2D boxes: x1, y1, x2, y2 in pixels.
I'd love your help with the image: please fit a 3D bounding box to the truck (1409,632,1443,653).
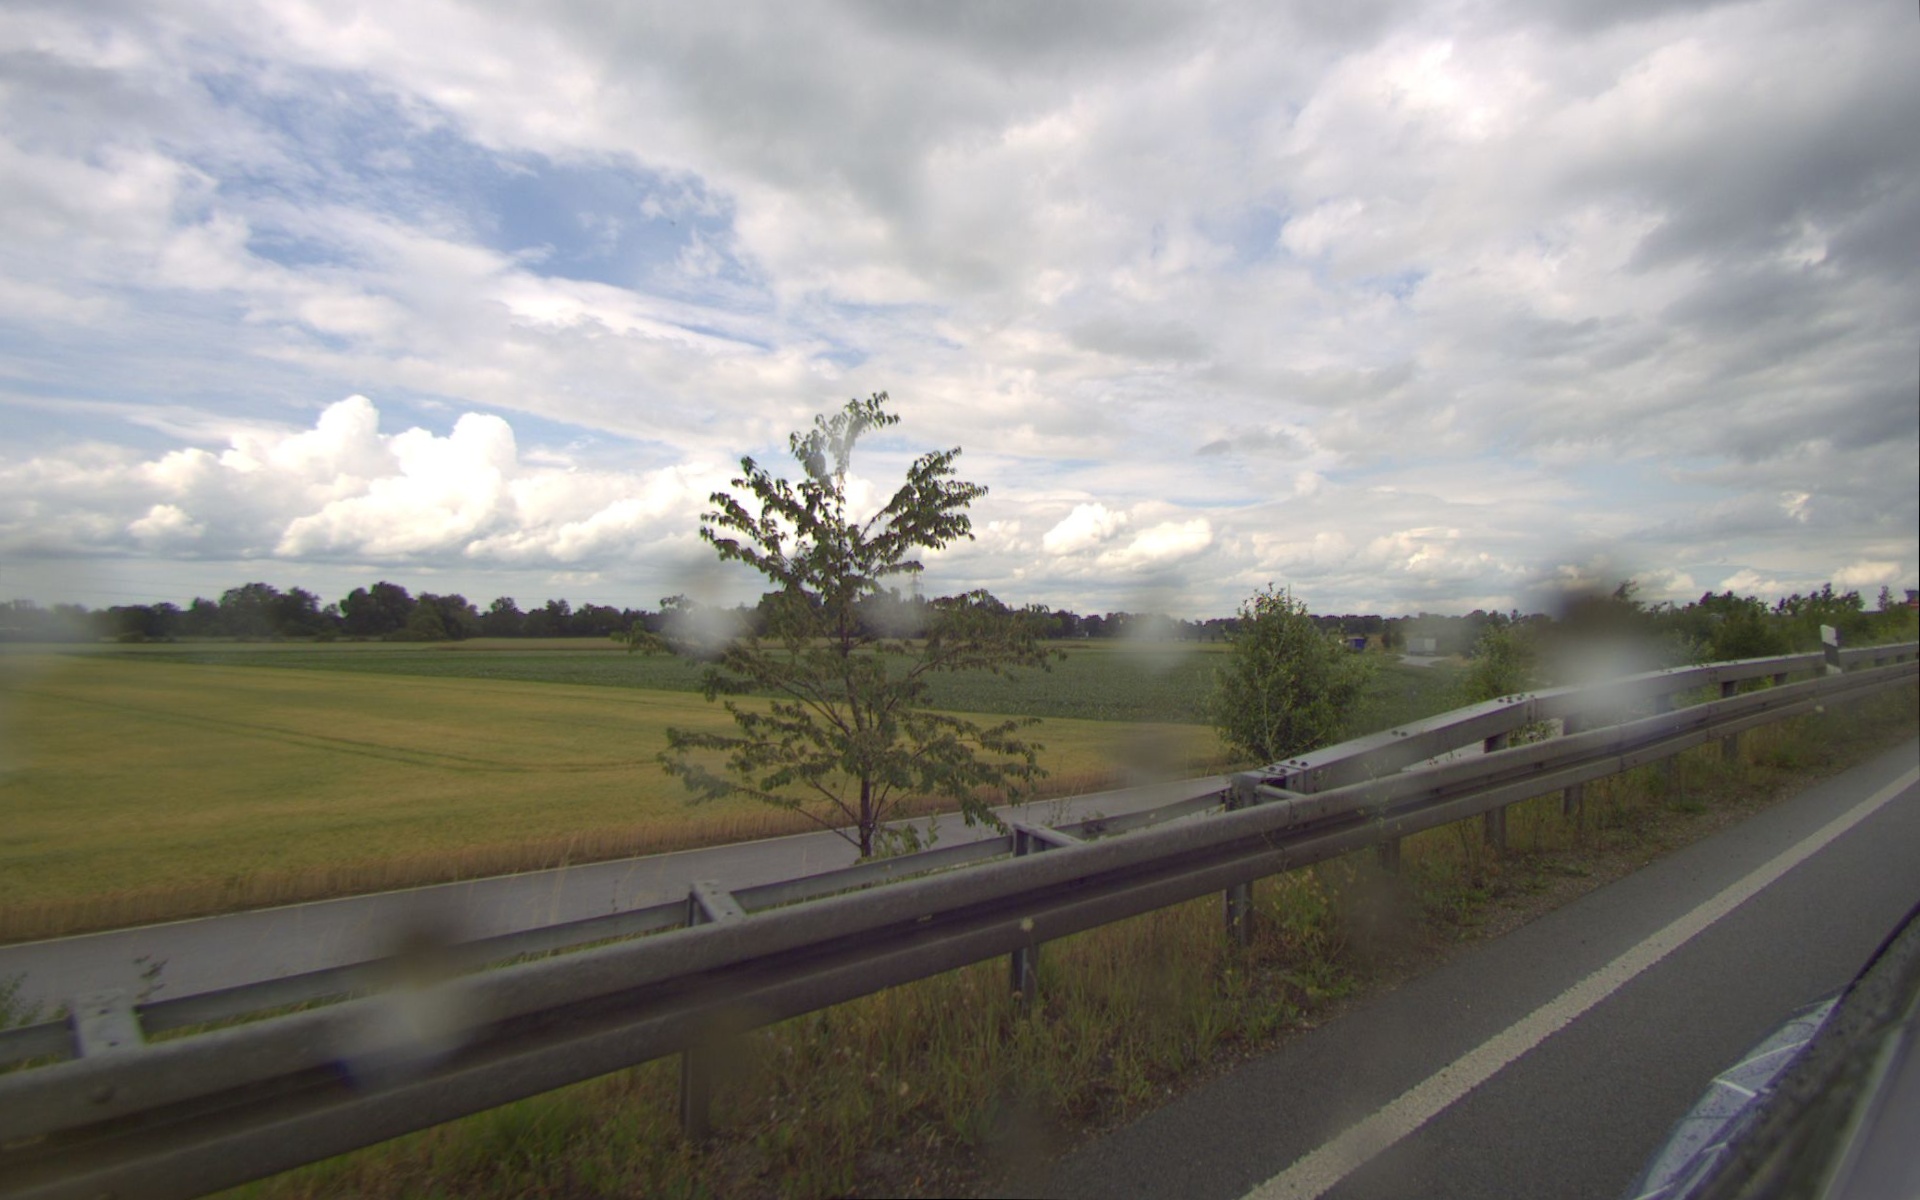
[{"bbox_3d":[105.048,9.550,228.129,3.200,4.394,11.668,-2,-1,6],"label":"truck"}]
